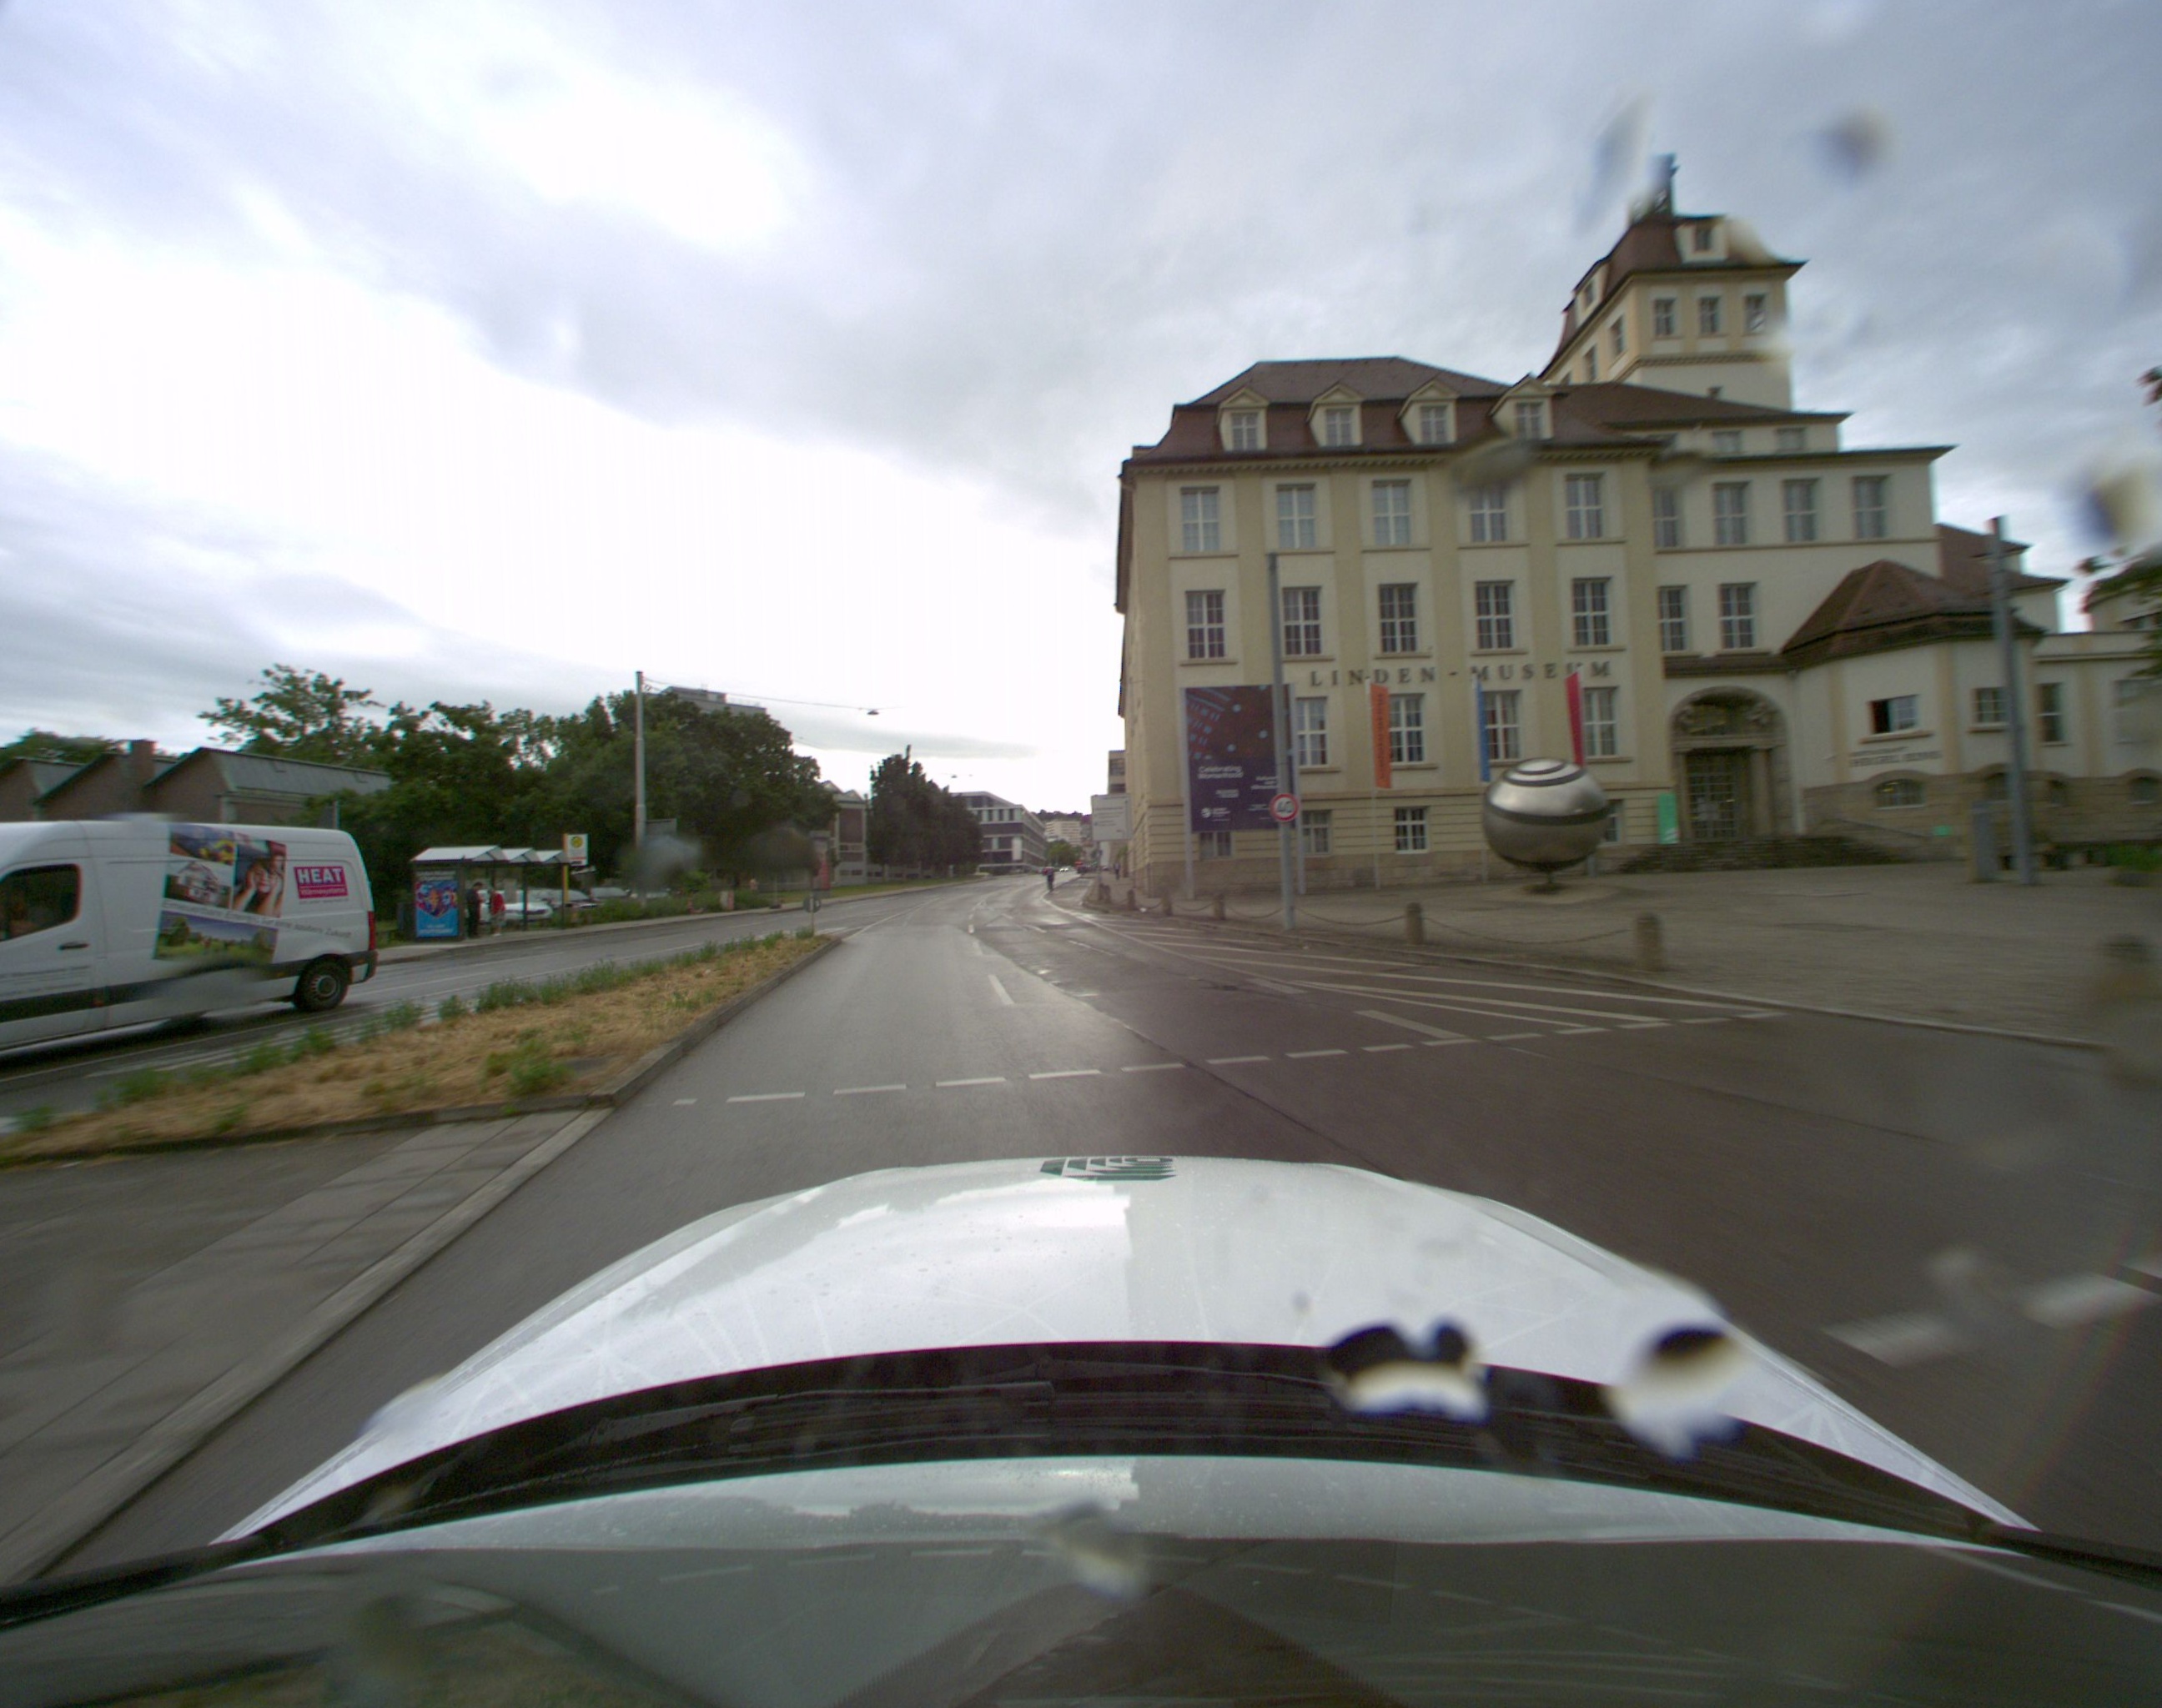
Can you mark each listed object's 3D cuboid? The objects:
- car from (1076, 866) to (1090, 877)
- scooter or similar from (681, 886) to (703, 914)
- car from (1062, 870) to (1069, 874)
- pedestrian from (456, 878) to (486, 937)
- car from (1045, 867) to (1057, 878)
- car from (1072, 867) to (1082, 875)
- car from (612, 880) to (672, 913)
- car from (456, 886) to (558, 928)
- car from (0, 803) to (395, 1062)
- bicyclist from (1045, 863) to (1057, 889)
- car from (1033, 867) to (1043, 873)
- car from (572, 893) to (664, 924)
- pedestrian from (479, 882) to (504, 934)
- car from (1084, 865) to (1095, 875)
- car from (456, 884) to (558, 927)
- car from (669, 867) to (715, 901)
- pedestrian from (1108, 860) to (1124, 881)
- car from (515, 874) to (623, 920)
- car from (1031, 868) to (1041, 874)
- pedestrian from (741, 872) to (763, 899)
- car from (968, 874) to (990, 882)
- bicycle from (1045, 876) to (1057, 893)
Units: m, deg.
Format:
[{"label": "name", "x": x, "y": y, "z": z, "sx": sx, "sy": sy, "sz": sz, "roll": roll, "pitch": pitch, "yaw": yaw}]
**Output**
[{"label": "car", "x": 0.341, "y": 2.664, "z": 123.380, "sx": 1.830, "sy": 1.560, "sz": 4.006, "roll": -1, "pitch": 1, "yaw": 5}, {"label": "scooter or similar", "x": -18.018, "y": 2.117, "z": 37.727, "sx": 0.455, "sy": 1.266, "sz": 0.978, "roll": -1, "pitch": -1, "yaw": 6}, {"label": "car", "x": -4.798, "y": 5.526, "z": 251.301, "sx": 1.830, "sy": 1.354, "sz": 3.421, "roll": -1, "pitch": 1, "yaw": 5}, {"label": "pedestrian", "x": -18.572, "y": 1.604, "z": 24.790, "sx": 0.456, "sy": 1.745, "sz": 0.664, "roll": 0, "pitch": -1, "yaw": -9}, {"label": "car", "x": -5.211, "y": 3.184, "z": 141.359, "sx": 1.886, "sy": 1.625, "sz": 3.645, "roll": -1, "pitch": 1, "yaw": 0}, {"label": "car", "x": -0.848, "y": 3.383, "z": 163.497, "sx": 1.831, "sy": 1.560, "sz": 4.003, "roll": -1, "pitch": 1, "yaw": 2}, {"label": "car", "x": -21.365, "y": 2.031, "z": 39.585, "sx": 1.863, "sy": 1.442, "sz": 4.028, "roll": 0, "pitch": -1, "yaw": -39}, {"label": "car", "x": -21.517, "y": 2.001, "z": 30.486, "sx": 4.022, "sy": 1.442, "sz": 1.866, "roll": -4, "pitch": -3, "yaw": 35}, {"label": "car", "x": -11.500, "y": 0.842, "z": 9.383, "sx": 2.053, "sy": 2.494, "sz": 6.035, "roll": -3, "pitch": -1, "yaw": -1}, {"label": "bicyclist", "x": -1.921, "y": 1.396, "z": 52.142, "sx": 0.697, "sy": 1.632, "sz": 1.129, "roll": -1, "pitch": -1, "yaw": 3}, {"label": "car", "x": -10.128, "y": 3.695, "z": 192.046, "sx": 1.830, "sy": 1.235, "sz": 3.421, "roll": -1, "pitch": 1, "yaw": 5}, {"label": "car", "x": -20.309, "y": 2.372, "z": 35.740, "sx": 3.456, "sy": 1.220, "sz": 1.844, "roll": 0, "pitch": -1, "yaw": 25}, {"label": "pedestrian", "x": -18.600, "y": 1.696, "z": 25.697, "sx": 0.616, "sy": 1.595, "sz": 0.503, "roll": 0, "pitch": -1, "yaw": -35}, {"label": "car", "x": 1.495, "y": 2.769, "z": 142.849, "sx": 1.831, "sy": 1.560, "sz": 4.003, "roll": -1, "pitch": 1, "yaw": 2}, {"label": "car", "x": -21.464, "y": 1.873, "z": 30.424, "sx": 3.948, "sy": 1.415, "sz": 1.845, "roll": -1, "pitch": -1, "yaw": 35}, {"label": "car", "x": -21.327, "y": 1.674, "z": 44.757, "sx": 1.854, "sy": 1.742, "sz": 4.047, "roll": -1, "pitch": -2, "yaw": -20}, {"label": "pedestrian", "x": 3.170, "y": 1.444, "z": 73.506, "sx": 1.234, "sy": 1.788, "sz": 1.597, "roll": -4, "pitch": -1, "yaw": 4}, {"label": "car", "x": -20.843, "y": 1.707, "z": 33.154, "sx": 3.950, "sy": 1.768, "sz": 1.844, "roll": -1, "pitch": -1, "yaw": 25}, {"label": "car", "x": -10.452, "y": 3.812, "z": 187.447, "sx": 1.830, "sy": 1.235, "sz": 3.421, "roll": -1, "pitch": 1, "yaw": 5}, {"label": "pedestrian", "x": -19.533, "y": 1.862, "z": 48.418, "sx": 0.799, "sy": 1.571, "sz": 0.960, "roll": -1, "pitch": -1, "yaw": 11}, {"label": "car", "x": -25.567, "y": 6.003, "z": 204.806, "sx": 5.209, "sy": 2.014, "sz": 2.000, "roll": -1, "pitch": -1, "yaw": 0}, {"label": "bicycle", "x": -1.910, "y": 1.923, "z": 52.120, "sx": 0.643, "sy": 1.056, "sz": 1.821, "roll": -1, "pitch": -2, "yaw": 0}]
